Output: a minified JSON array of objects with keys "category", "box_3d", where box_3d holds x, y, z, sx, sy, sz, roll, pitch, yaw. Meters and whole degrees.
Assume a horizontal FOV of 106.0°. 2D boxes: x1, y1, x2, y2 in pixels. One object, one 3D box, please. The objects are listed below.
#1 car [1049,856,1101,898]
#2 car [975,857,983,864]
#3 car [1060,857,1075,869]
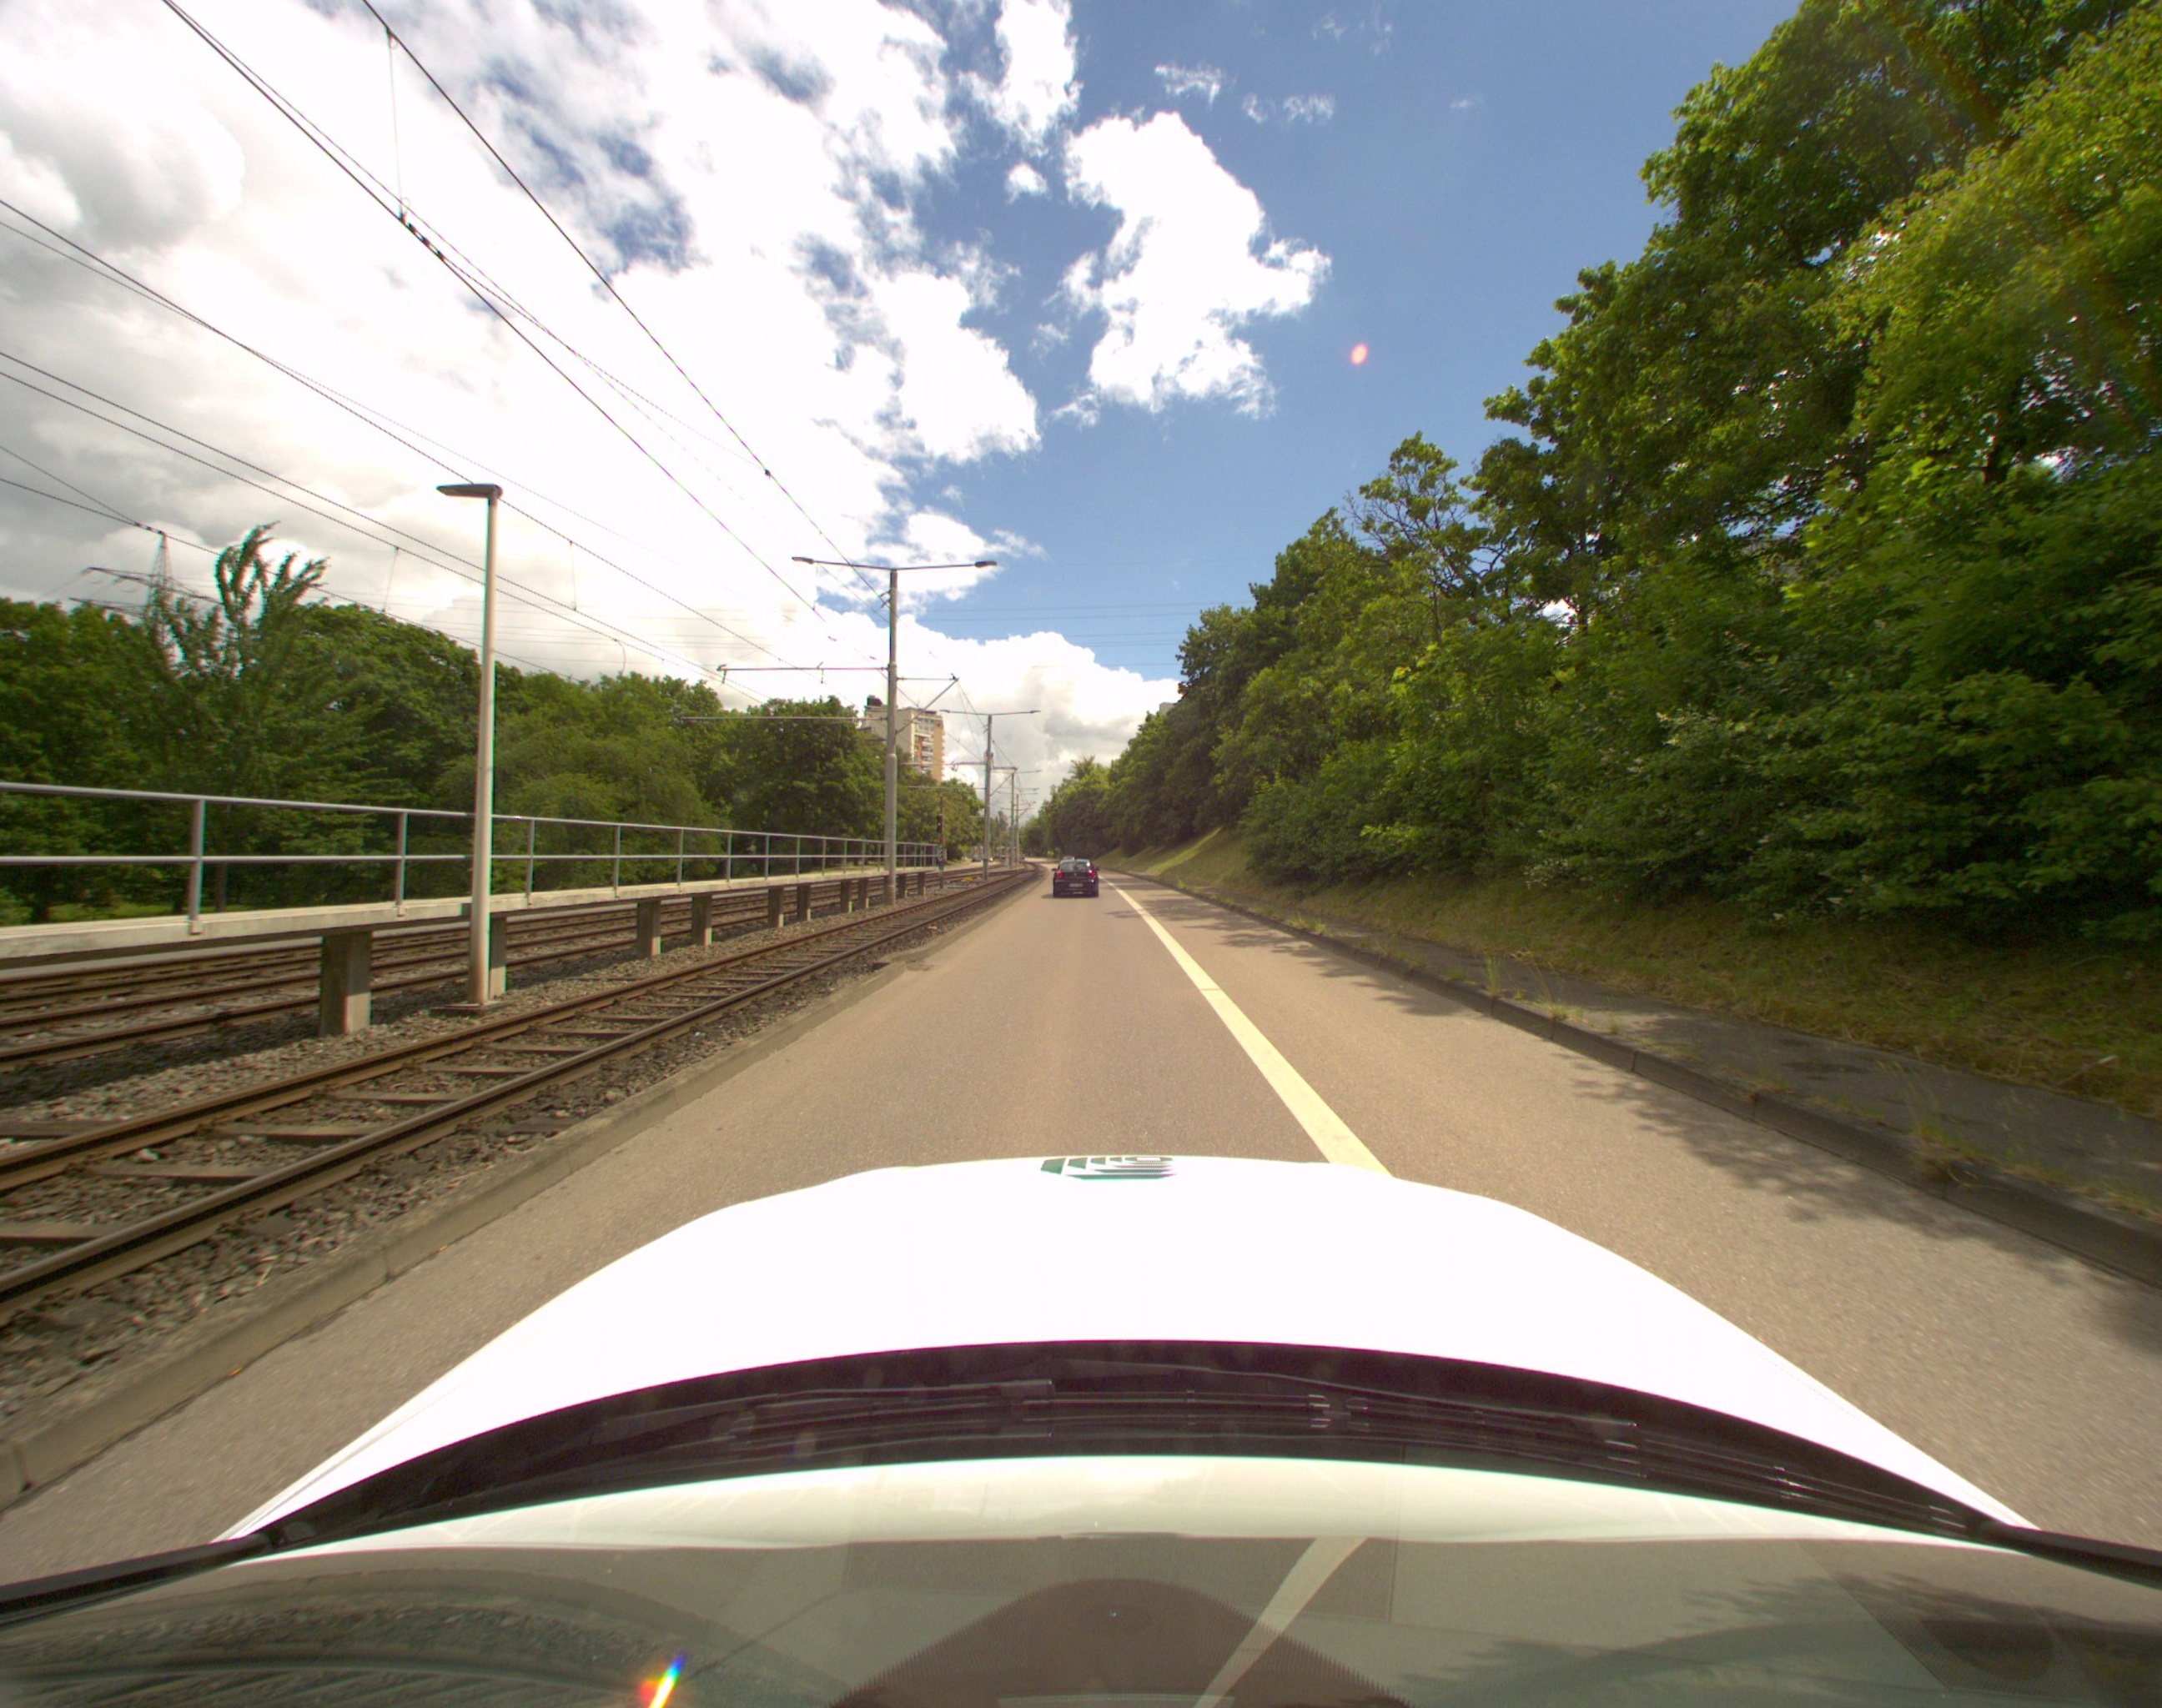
[{"category":"car","box_3d":[-0.289,0.845,31.534,1.778,1.459,3.916,-1,0,-4]},{"category":"car","box_3d":[-22.777,1.484,181.501,1.773,1.498,3.986,0,0,-8]},{"category":"car","box_3d":[-1.625,1.051,96.308,1.777,1.460,3.917,0,0,-2]}]
